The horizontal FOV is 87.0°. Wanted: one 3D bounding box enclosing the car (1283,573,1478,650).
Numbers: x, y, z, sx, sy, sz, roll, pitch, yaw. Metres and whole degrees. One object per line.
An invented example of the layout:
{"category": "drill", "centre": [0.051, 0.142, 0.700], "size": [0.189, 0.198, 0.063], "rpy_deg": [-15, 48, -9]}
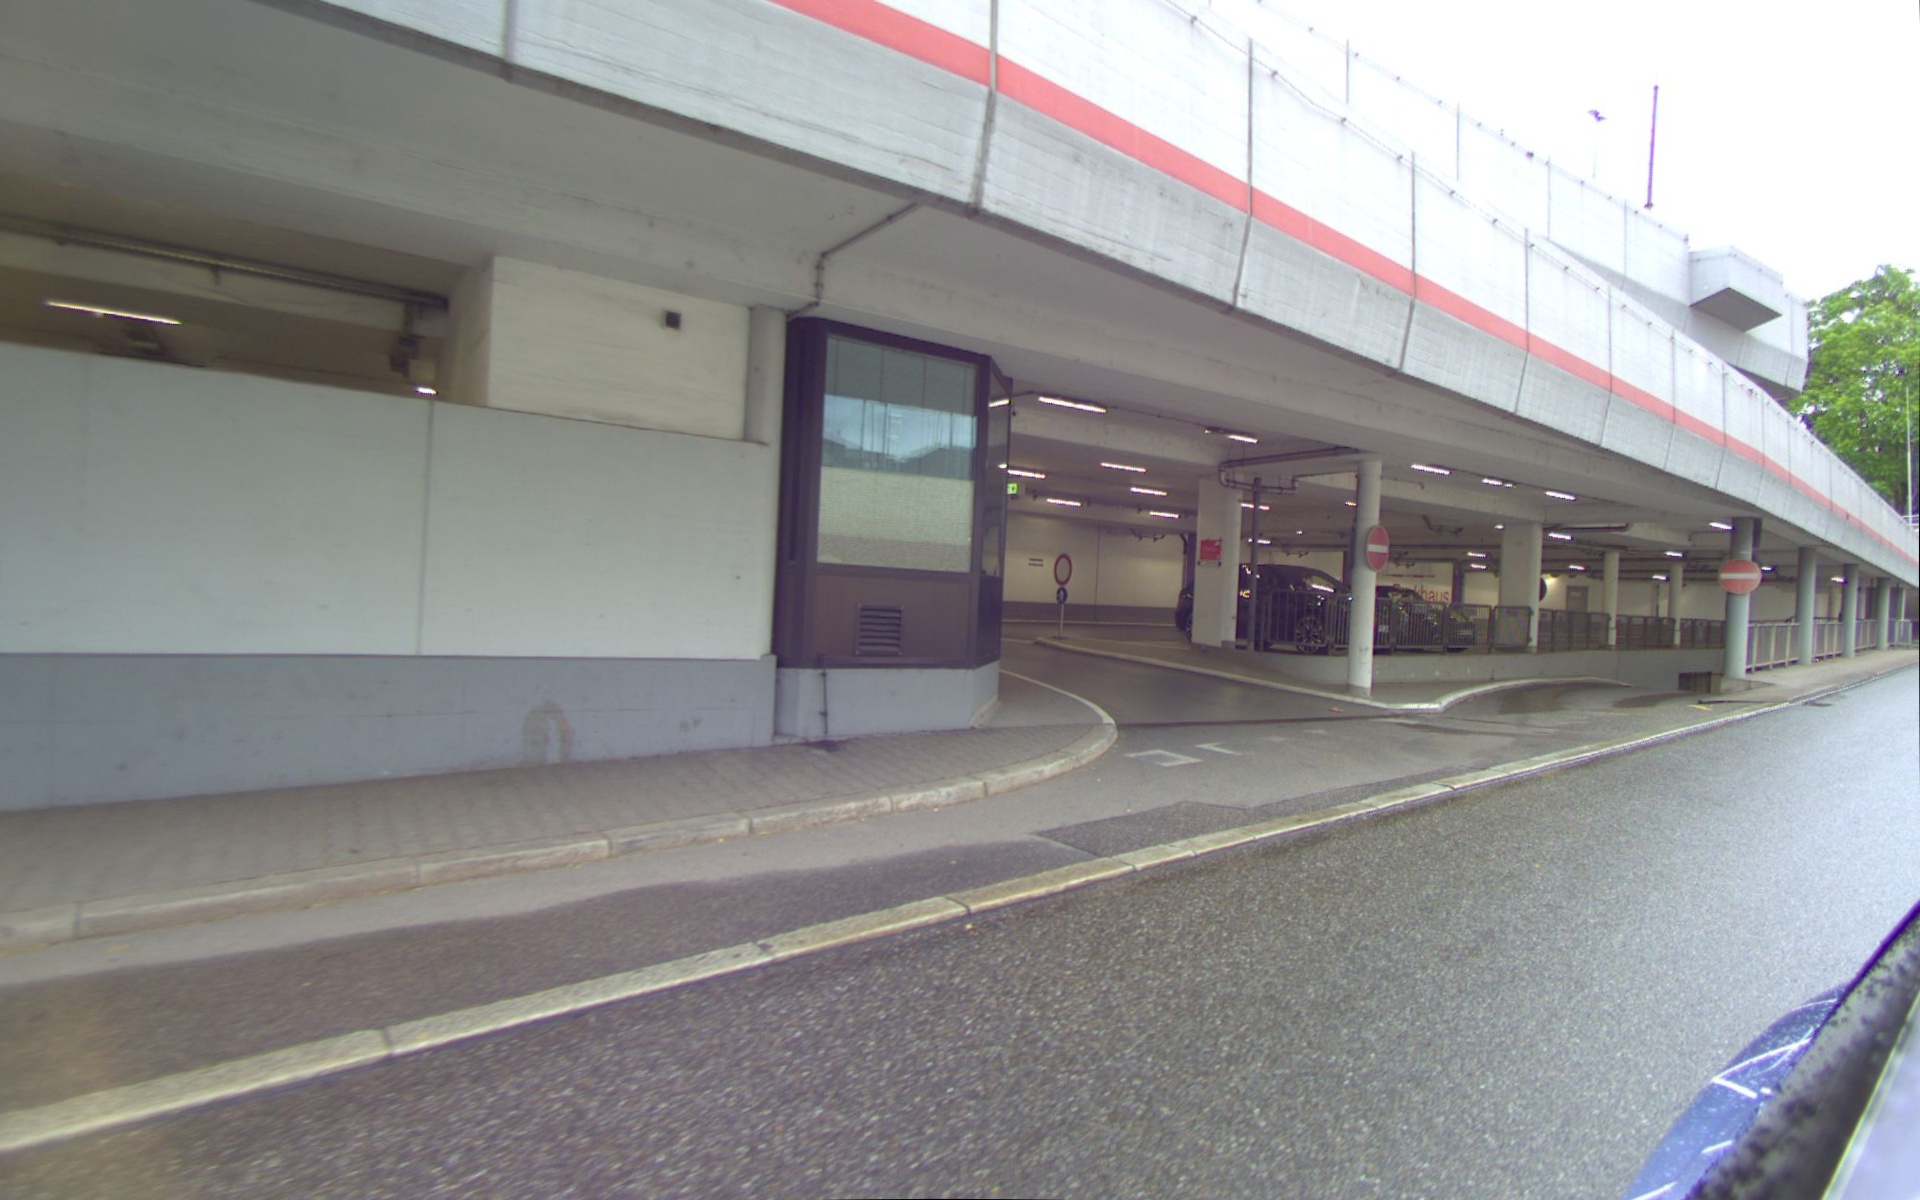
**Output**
{"category": "car", "centre": [9.580, 0.218, 23.302], "size": [1.772, 1.524, 3.738], "rpy_deg": [3, 1, -33]}

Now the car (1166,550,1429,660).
{"category": "car", "centre": [6.263, 0.019, 19.355], "size": [1.786, 1.659, 4.597], "rpy_deg": [2, 4, -32]}
